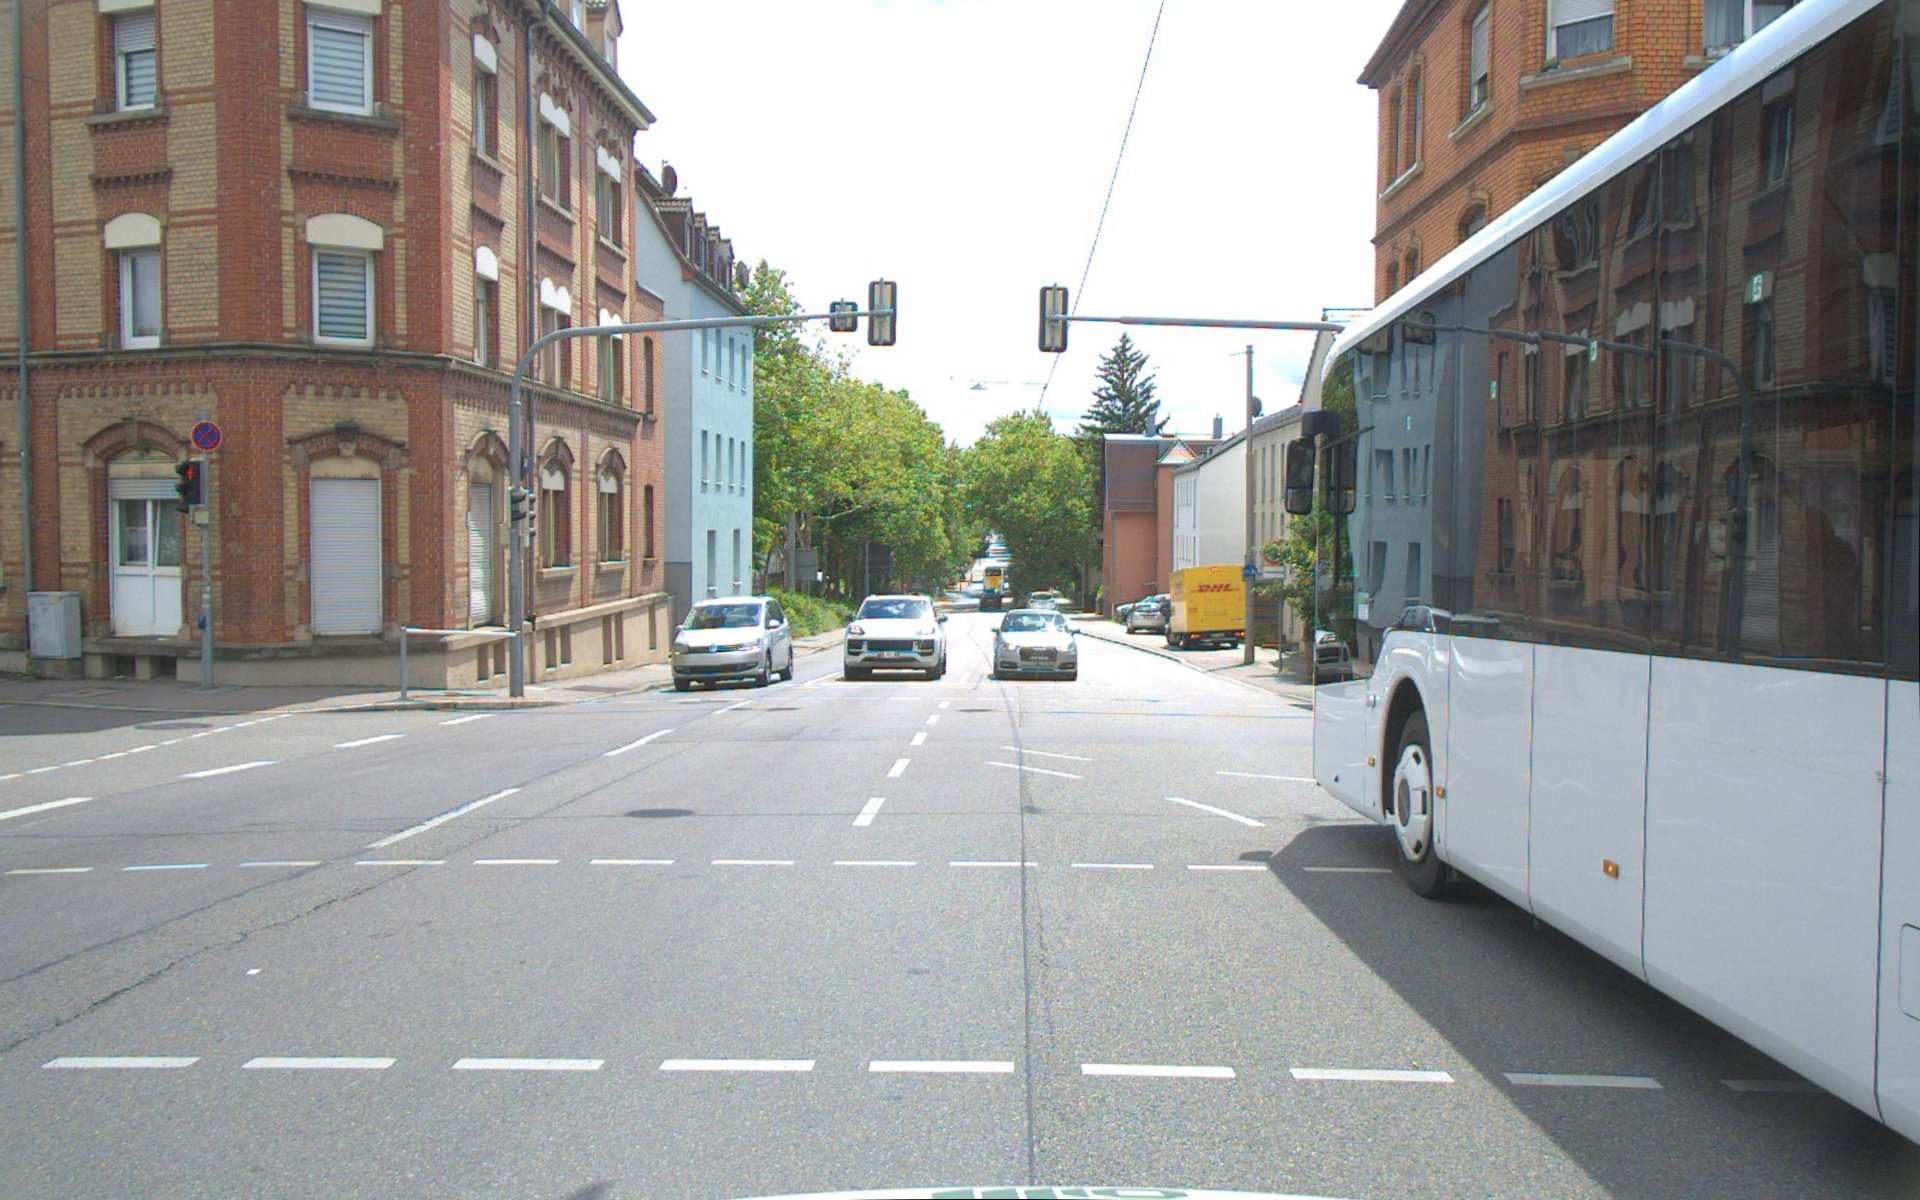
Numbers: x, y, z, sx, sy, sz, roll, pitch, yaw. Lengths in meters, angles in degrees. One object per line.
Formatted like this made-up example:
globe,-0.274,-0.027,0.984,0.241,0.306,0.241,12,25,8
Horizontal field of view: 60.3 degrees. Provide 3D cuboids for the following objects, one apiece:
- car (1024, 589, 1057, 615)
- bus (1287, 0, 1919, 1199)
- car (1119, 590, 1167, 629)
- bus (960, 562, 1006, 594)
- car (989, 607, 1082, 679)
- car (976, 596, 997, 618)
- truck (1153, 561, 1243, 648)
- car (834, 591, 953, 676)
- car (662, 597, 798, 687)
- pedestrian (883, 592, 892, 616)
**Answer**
car,5.695,0.134,117.904,2.049,1.862,4.141,0,0,-2
bus,3.566,-0.246,5.316,2.844,3.571,12.490,1,0,2
car,8.959,0.470,81.234,1.871,1.848,3.999,0,0,-1
bus,2.790,-2.653,202.704,3.242,3.694,11.211,-1,0,-12
car,1.556,0.857,34.938,1.826,1.391,4.548,0,0,2
car,2.289,0.607,141.850,1.782,1.816,4.001,0,0,2
truck,8.608,0.158,60.402,2.488,2.964,6.573,1,0,1
car,-1.301,0.649,34.491,2.161,1.641,4.548,0,0,2
car,-4.366,0.752,32.007,1.895,1.591,4.390,0,0,2
pedestrian,-5.527,0.304,126.390,0.594,1.789,0.654,0,0,0
